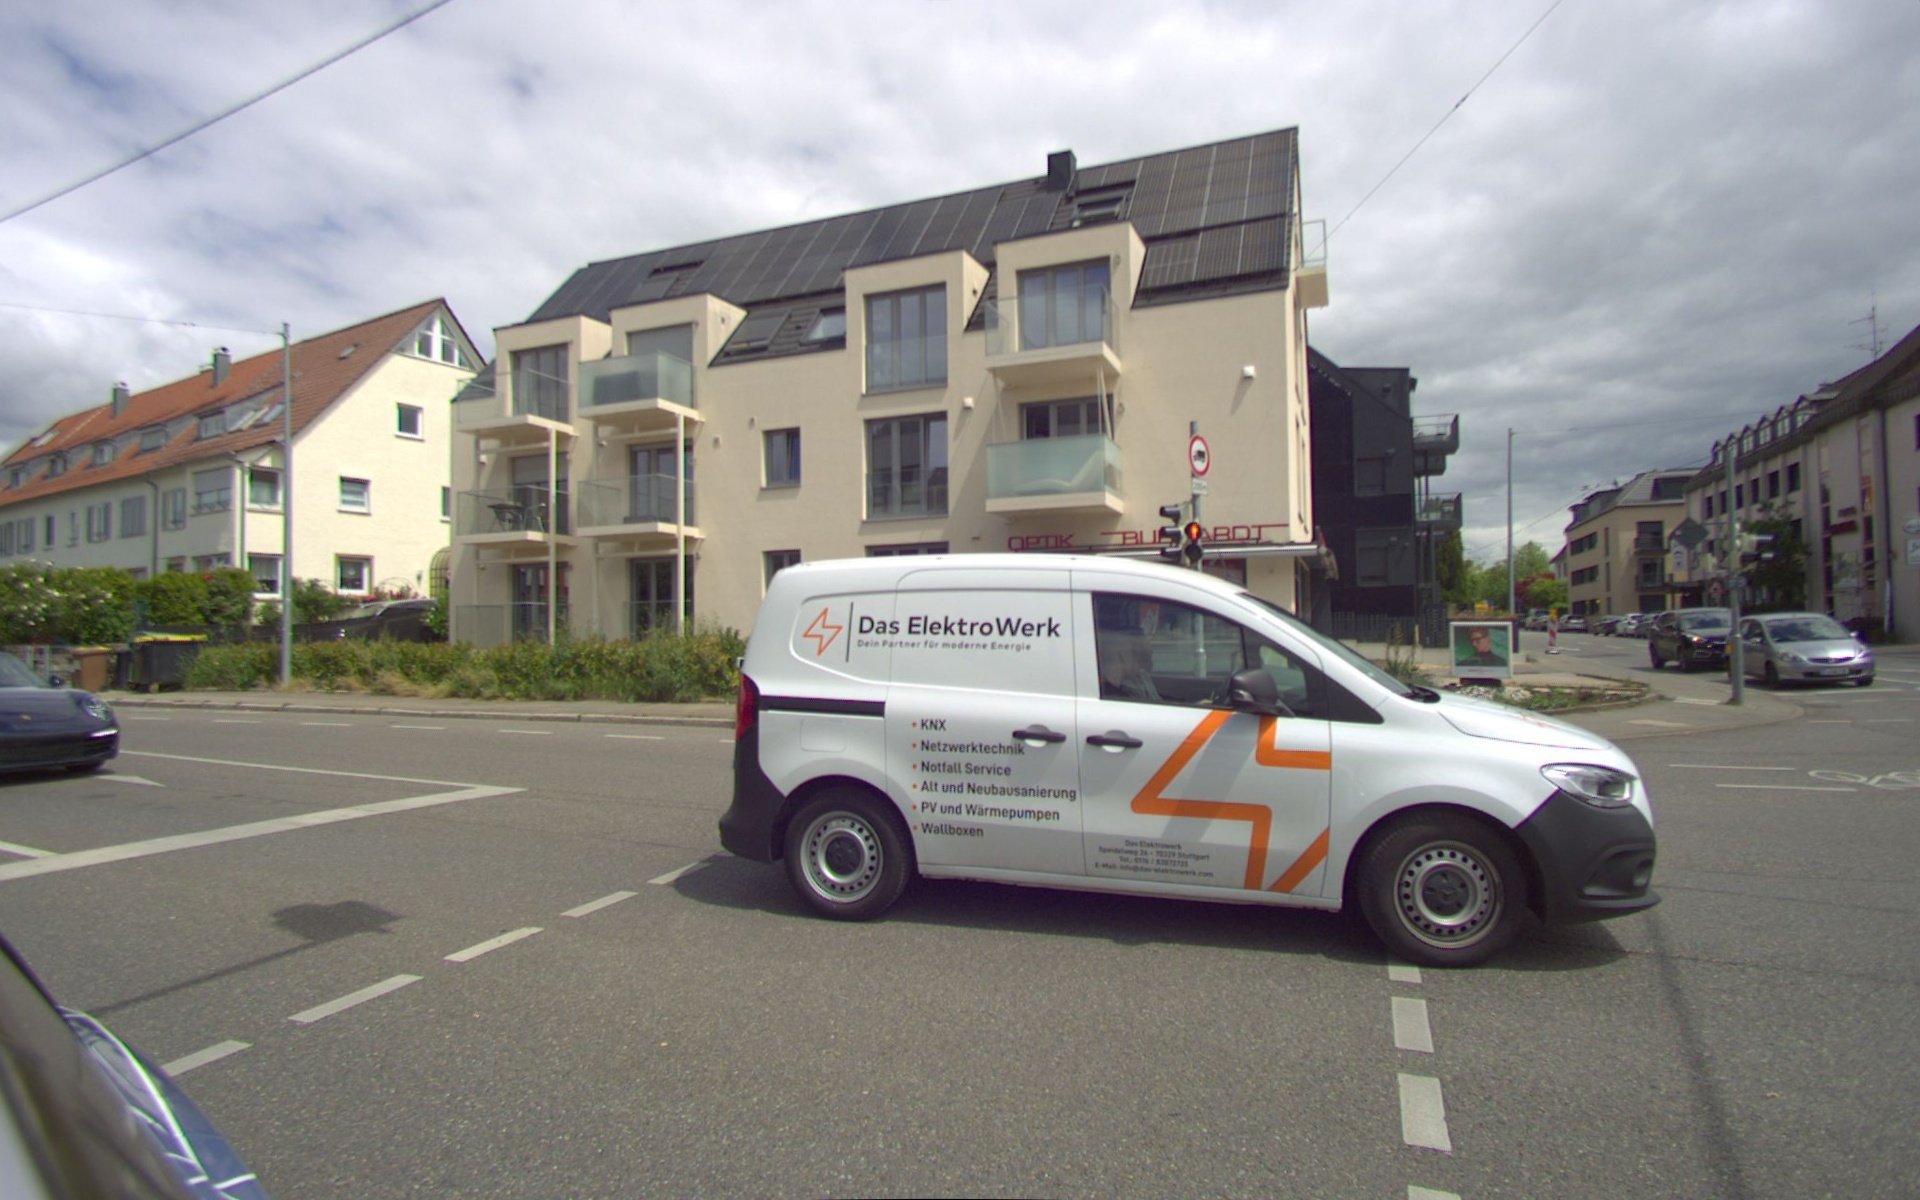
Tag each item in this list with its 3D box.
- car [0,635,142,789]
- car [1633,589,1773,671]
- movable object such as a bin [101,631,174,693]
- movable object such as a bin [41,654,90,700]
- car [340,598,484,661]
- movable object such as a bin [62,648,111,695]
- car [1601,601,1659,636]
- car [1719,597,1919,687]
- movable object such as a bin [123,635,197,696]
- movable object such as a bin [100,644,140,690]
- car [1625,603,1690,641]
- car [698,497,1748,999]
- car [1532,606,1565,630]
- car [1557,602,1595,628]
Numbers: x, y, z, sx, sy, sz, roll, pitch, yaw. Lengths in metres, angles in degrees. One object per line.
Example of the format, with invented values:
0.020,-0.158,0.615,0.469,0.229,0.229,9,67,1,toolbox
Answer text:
-10.410,1.076,10.274,4.023,1.374,1.799,-1,-1,27,car
19.893,0.778,27.307,1.985,2.029,3.972,-1,-1,21,car
-19.931,1.485,24.543,0.976,1.457,1.082,-2,-1,28,movable object such as a bin
-21.878,1.863,24.761,0.691,1.073,0.755,-2,-2,35,movable object such as a bin
-18.832,0.995,34.936,1.990,2.029,3.963,-1,-1,27,car
-21.159,1.717,24.523,0.691,1.073,0.755,-2,-2,35,movable object such as a bin
41.154,1.126,62.281,1.984,2.029,3.974,-1,-1,19,car
17.989,0.839,21.435,1.986,1.697,3.972,-1,-1,21,car
-18.941,1.541,23.974,0.976,1.373,1.082,-2,-1,28,movable object such as a bin
-20.721,1.646,24.965,0.515,1.073,0.658,-1,-1,-11,movable object such as a bin
39.490,1.230,57.391,1.984,2.029,3.975,-1,-1,19,car
1.038,0.592,5.250,4.382,1.825,1.811,-1,-1,18,car
51.155,1.581,88.059,1.987,2.029,3.969,-1,-1,23,car
48.593,1.192,79.920,1.988,2.029,3.968,-1,-1,24,car
